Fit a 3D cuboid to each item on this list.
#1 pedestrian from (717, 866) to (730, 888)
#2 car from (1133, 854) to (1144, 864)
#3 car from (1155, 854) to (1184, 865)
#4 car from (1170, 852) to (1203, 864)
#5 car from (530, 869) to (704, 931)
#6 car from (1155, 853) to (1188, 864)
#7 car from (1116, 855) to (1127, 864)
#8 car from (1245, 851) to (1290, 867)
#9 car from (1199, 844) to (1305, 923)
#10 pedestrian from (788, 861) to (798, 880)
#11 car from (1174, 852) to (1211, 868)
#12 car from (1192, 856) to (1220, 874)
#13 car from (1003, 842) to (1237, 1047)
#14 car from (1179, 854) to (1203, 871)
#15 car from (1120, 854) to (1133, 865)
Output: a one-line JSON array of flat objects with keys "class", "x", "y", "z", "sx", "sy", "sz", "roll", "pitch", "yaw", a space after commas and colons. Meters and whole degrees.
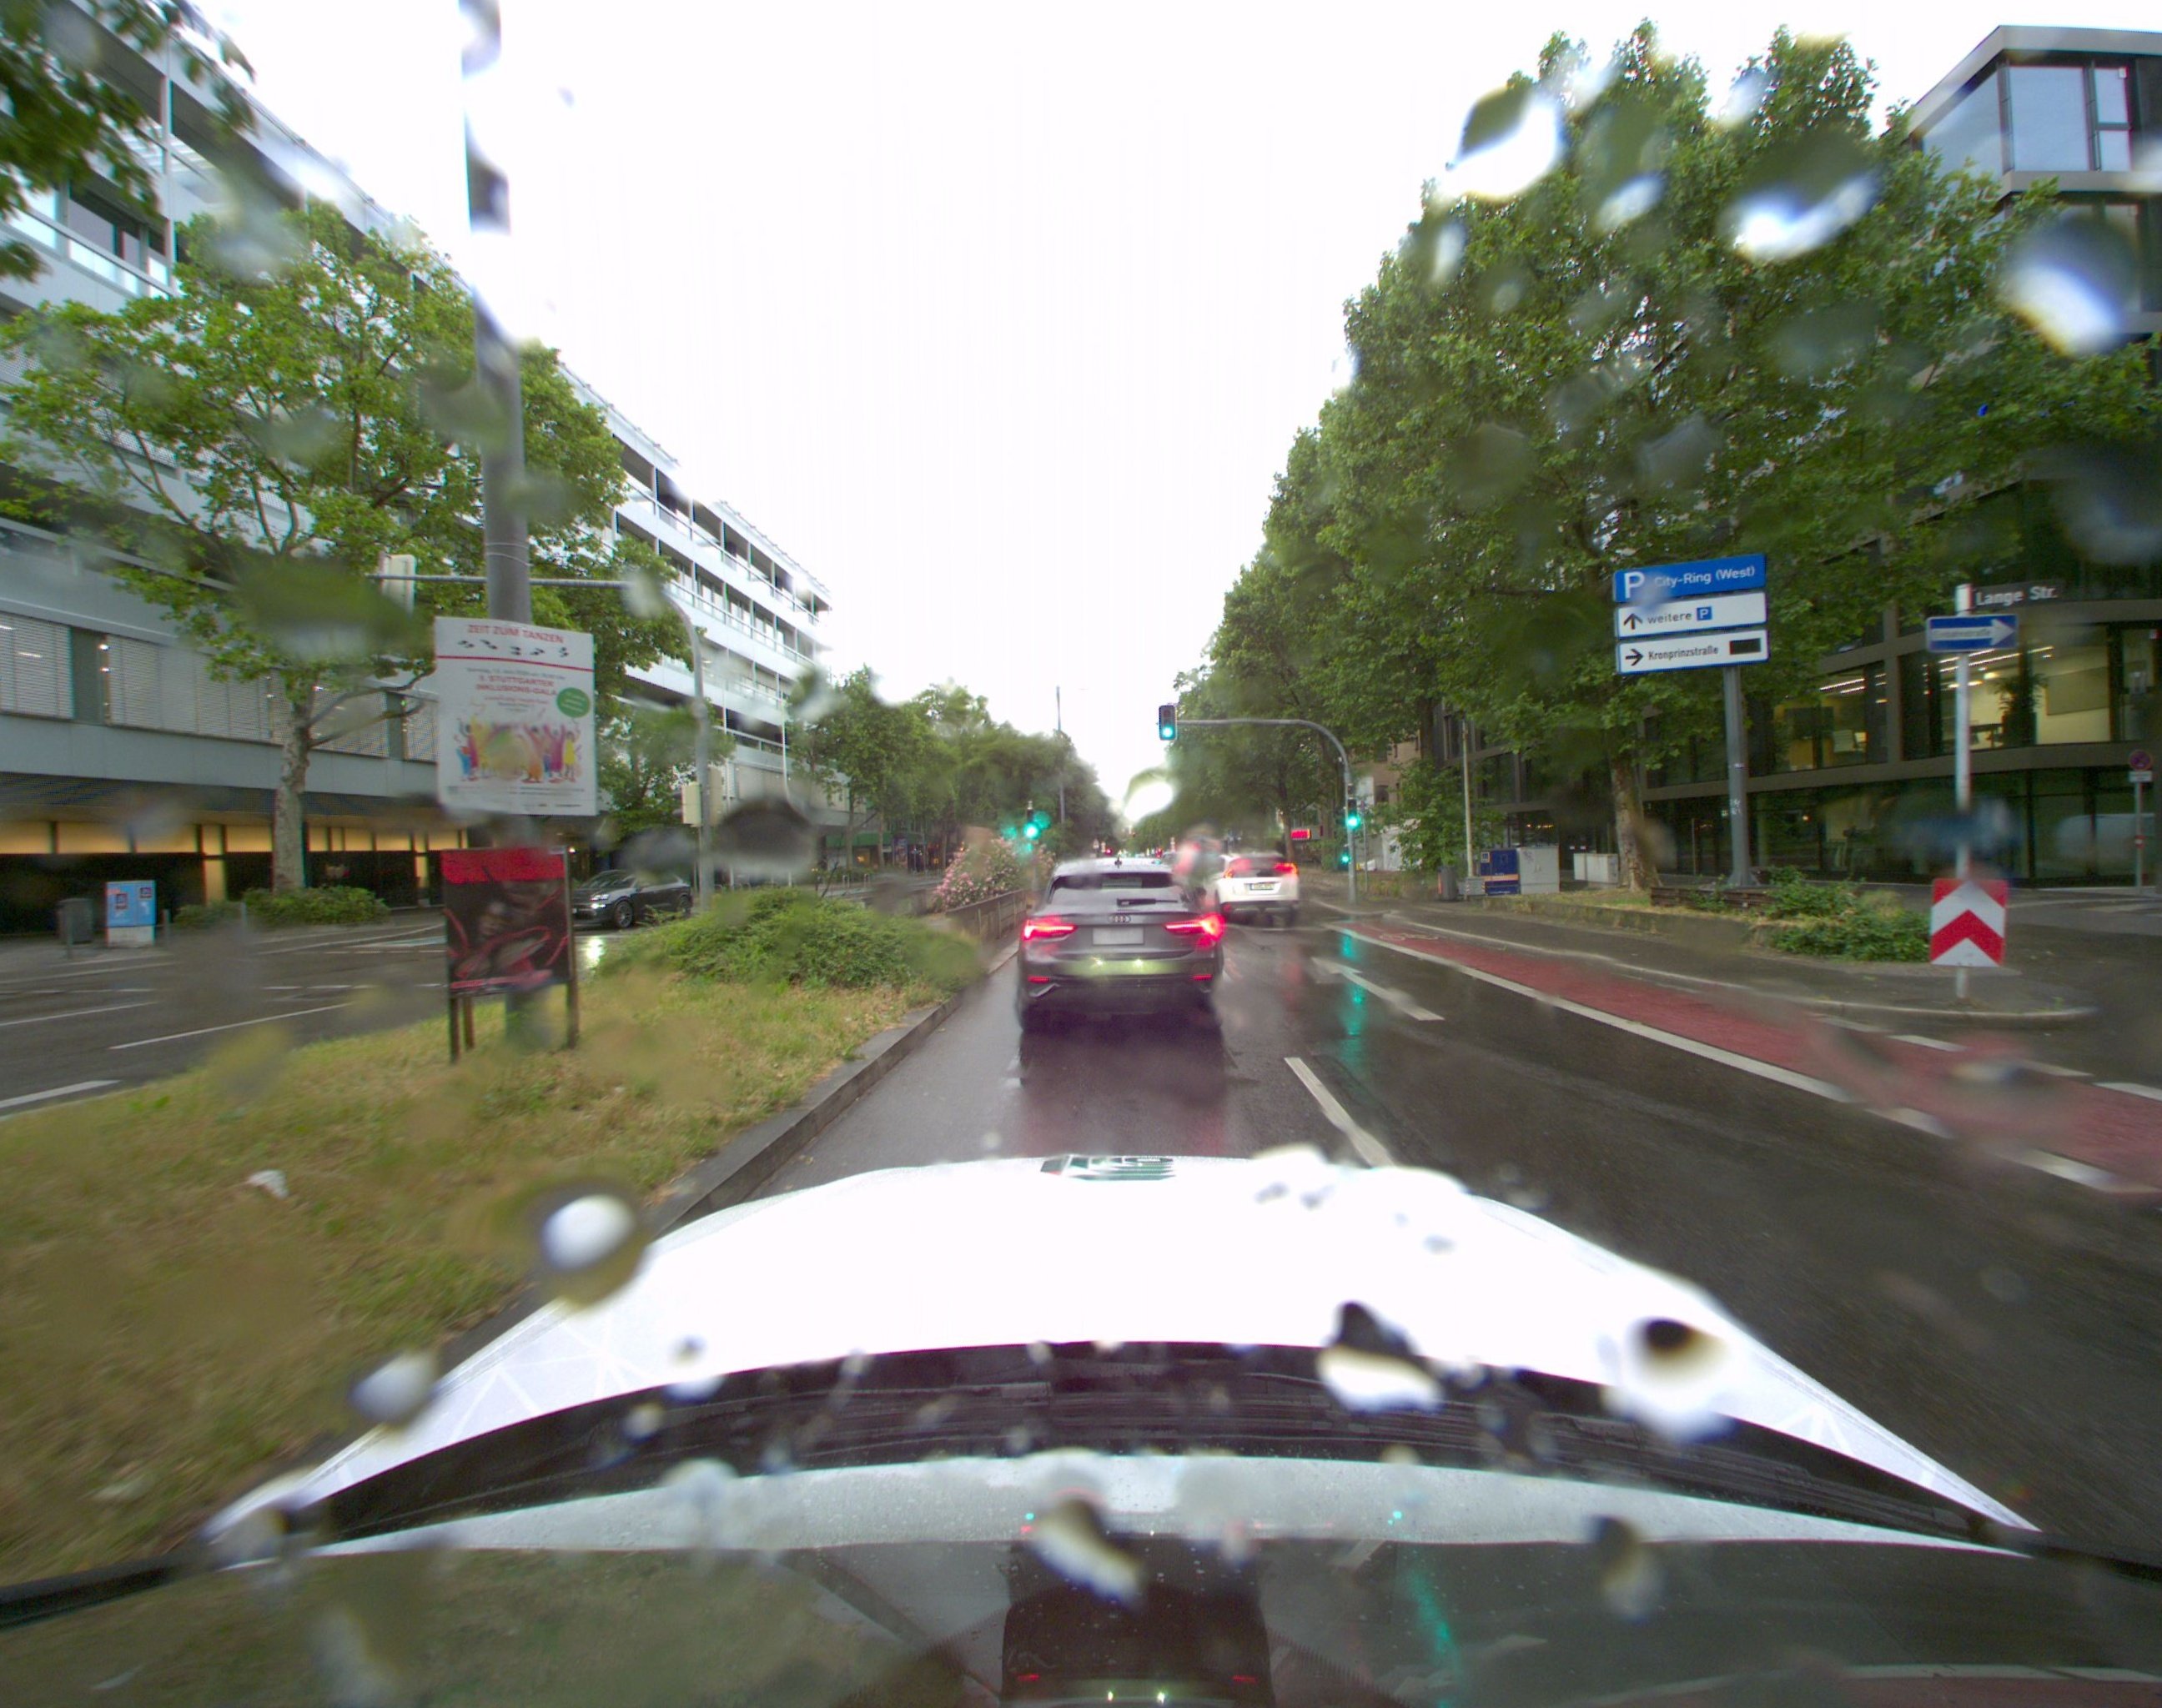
[{"class": "pedestrian", "x": -22.572, "y": 1.470, "z": 51.393, "sx": 0.635, "sy": 1.380, "sz": 0.474, "roll": 0, "pitch": -1, "yaw": -1}, {"class": "car", "x": 10.695, "y": 0.947, "z": 150.912, "sx": 1.985, "sy": 1.651, "sz": 4.003, "roll": 0, "pitch": -1, "yaw": 3}, {"class": "car", "x": 15.262, "y": 0.945, "z": 140.225, "sx": 4.594, "sy": 1.706, "sz": 2.012, "roll": -1, "pitch": -1, "yaw": 30}, {"class": "car", "x": 15.911, "y": 0.612, "z": 122.772, "sx": 4.594, "sy": 1.706, "sz": 2.012, "roll": -1, "pitch": -1, "yaw": 30}, {"class": "car", "x": -13.213, "y": 1.242, "z": 23.623, "sx": 1.900, "sy": 1.584, "sz": 4.754, "roll": 0, "pitch": -1, "yaw": 6}, {"class": "car", "x": 14.117, "y": 0.687, "z": 126.941, "sx": 4.594, "sy": 1.706, "sz": 2.012, "roll": -1, "pitch": -1, "yaw": 30}, {"class": "car", "x": 7.318, "y": 1.062, "z": 148.629, "sx": 1.889, "sy": 1.599, "sz": 3.940, "roll": 0, "pitch": -1, "yaw": 2}, {"class": "car", "x": 13.443, "y": 0.367, "z": 58.697, "sx": 2.856, "sy": 1.074, "sz": 1.465, "roll": -1, "pitch": -1, "yaw": 33}, {"class": "car", "x": 3.989, "y": 0.659, "z": 19.583, "sx": 1.870, "sy": 1.697, "sz": 4.002, "roll": 0, "pitch": -1, "yaw": 3}, {"class": "pedestrian", "x": -22.367, "y": 1.292, "z": 63.272, "sx": 0.608, "sy": 1.482, "sz": 0.574, "roll": 0, "pitch": -1, "yaw": -1}, {"class": "car", "x": 14.899, "y": 0.824, "z": 108.681, "sx": 4.548, "sy": 2.014, "sz": 1.980, "roll": -1, "pitch": -1, "yaw": 41}, {"class": "car", "x": 10.383, "y": 0.929, "z": 67.875, "sx": 1.865, "sy": 1.421, "sz": 4.614, "roll": 0, "pitch": -1, "yaw": 3}, {"class": "car", "x": 0.375, "y": 0.739, "z": 8.525, "sx": 1.842, "sy": 1.602, "sz": 4.001, "roll": -1, "pitch": 0, "yaw": 2}, {"class": "car", "x": 10.619, "y": 0.852, "z": 78.984, "sx": 1.723, "sy": 1.571, "sz": 4.070, "roll": 0, "pitch": -1, "yaw": -2}, {"class": "car", "x": 7.197, "y": 0.841, "z": 129.668, "sx": 1.986, "sy": 1.726, "sz": 4.002, "roll": 0, "pitch": -1, "yaw": 2}]
